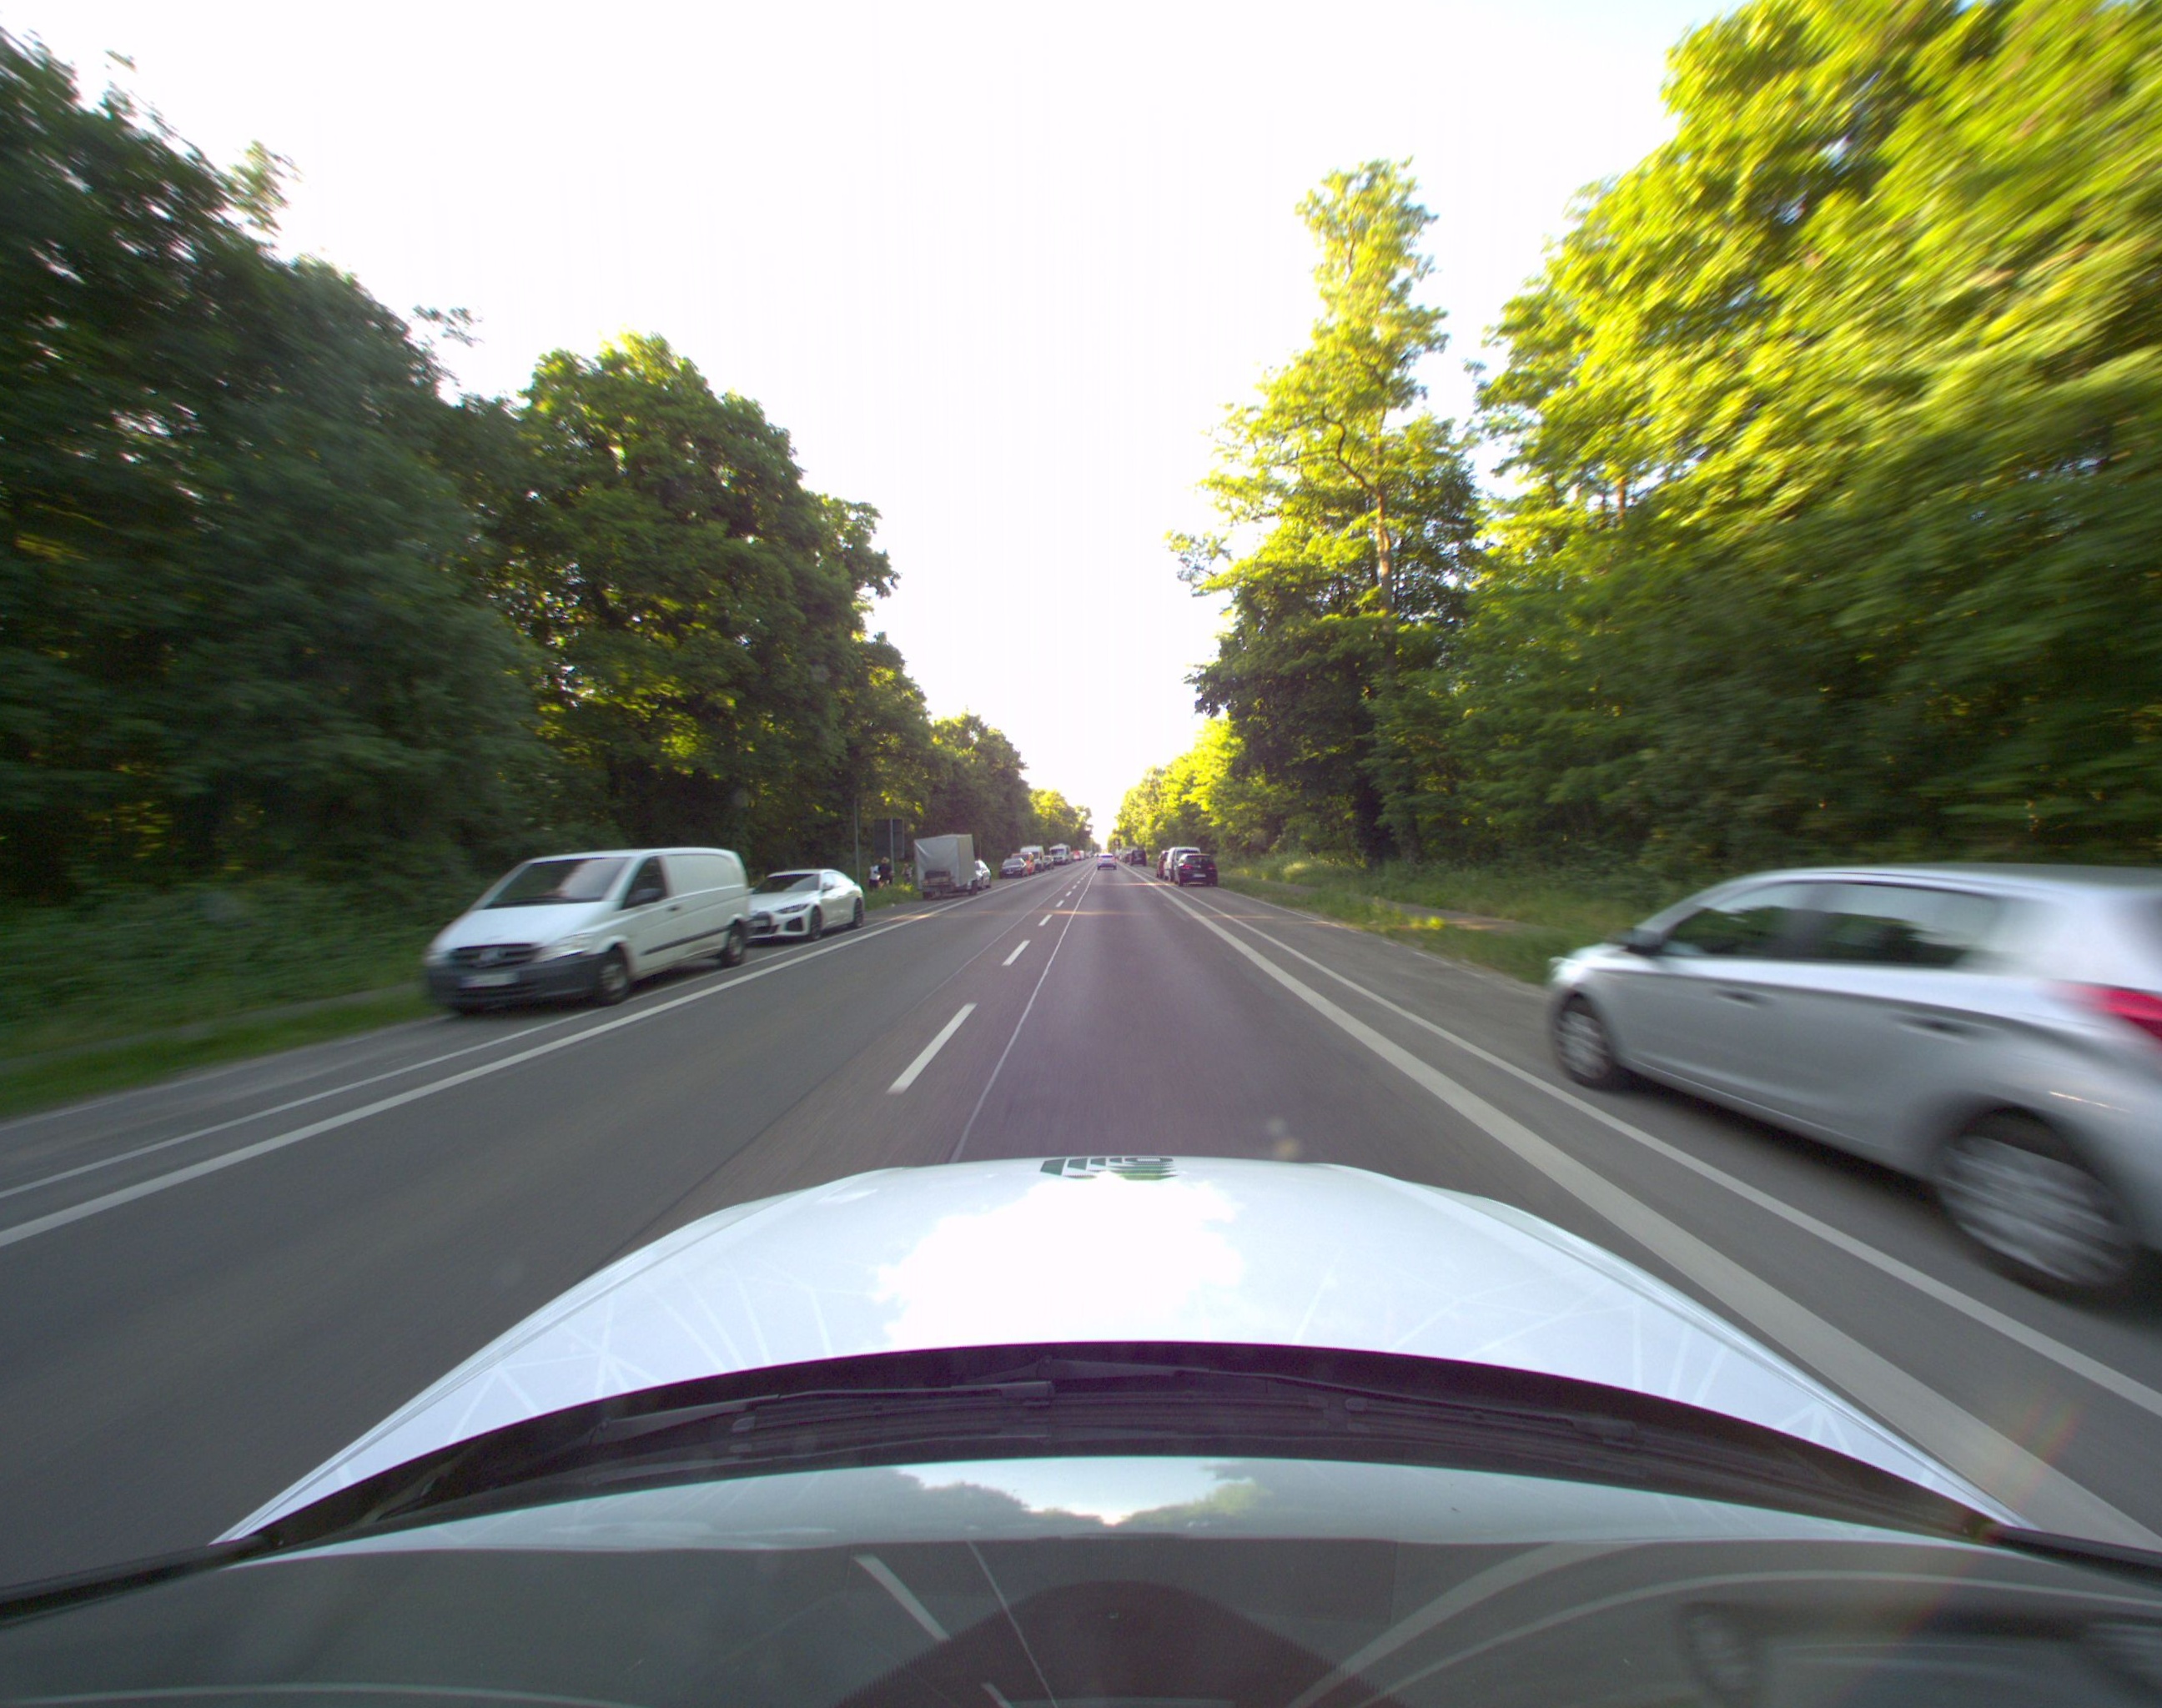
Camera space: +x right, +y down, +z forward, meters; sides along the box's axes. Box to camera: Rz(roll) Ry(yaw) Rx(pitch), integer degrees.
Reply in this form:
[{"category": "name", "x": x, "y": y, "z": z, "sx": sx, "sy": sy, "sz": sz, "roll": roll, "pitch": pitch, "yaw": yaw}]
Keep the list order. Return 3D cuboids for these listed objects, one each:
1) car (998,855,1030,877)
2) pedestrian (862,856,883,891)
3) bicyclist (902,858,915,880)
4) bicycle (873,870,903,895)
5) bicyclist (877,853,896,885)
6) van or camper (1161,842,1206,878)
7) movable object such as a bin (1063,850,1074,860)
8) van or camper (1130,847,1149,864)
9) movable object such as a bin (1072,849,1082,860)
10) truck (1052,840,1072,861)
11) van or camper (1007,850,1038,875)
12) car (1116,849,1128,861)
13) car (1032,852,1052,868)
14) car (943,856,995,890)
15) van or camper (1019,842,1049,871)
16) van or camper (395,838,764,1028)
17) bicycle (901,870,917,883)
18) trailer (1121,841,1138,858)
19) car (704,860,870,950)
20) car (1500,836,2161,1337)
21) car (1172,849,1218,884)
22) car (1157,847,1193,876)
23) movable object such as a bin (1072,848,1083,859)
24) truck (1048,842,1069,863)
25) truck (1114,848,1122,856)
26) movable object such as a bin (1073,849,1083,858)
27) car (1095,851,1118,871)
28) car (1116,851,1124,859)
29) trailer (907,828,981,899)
[{"category": "car", "x": -4.953, "y": 0.860, "z": 60.721, "sx": 1.725, "sy": 1.478, "sz": 4.326, "roll": -4, "pitch": 0, "yaw": 2}, {"category": "pedestrian", "x": -10.021, "y": 0.935, "z": 39.170, "sx": 0.755, "sy": 1.607, "sz": 0.716, "roll": -1, "pitch": 0, "yaw": 1}, {"category": "bicyclist", "x": -9.679, "y": 0.832, "z": 45.721, "sx": 0.485, "sy": 1.235, "sz": 0.974, "roll": -1, "pitch": 0, "yaw": 2}, {"category": "bicycle", "x": -8.411, "y": 1.218, "z": 35.560, "sx": 0.649, "sy": 1.008, "sz": 2.397, "roll": -1, "pitch": 0, "yaw": 2}, {"category": "bicyclist", "x": -8.457, "y": 0.649, "z": 35.454, "sx": 0.602, "sy": 1.374, "sz": 0.799, "roll": -1, "pitch": 0, "yaw": 2}, {"category": "van or camper", "x": 5.469, "y": 0.304, "z": 43.908, "sx": 1.944, "sy": 1.815, "sz": 4.383, "roll": -1, "pitch": 0, "yaw": 2}, {"category": "movable object such as a bin", "x": -2.431, "y": 0.188, "z": 161.489, "sx": 1.946, "sy": 2.013, "sz": 4.002, "roll": -2, "pitch": 0, "yaw": 2}, {"category": "van or camper", "x": 6.961, "y": 0.121, "z": 97.297, "sx": 1.986, "sy": 1.932, "sz": 5.201, "roll": -1, "pitch": 0, "yaw": 2}, {"category": "movable object such as a bin", "x": -0.923, "y": 0.088, "z": 200.149, "sx": 2.313, "sy": 2.501, "sz": 4.002, "roll": -2, "pitch": 0, "yaw": 2}, {"category": "truck", "x": -3.136, "y": -0.628, "z": 138.294, "sx": 2.697, "sy": 3.347, "sz": 10.928, "roll": -2, "pitch": 0, "yaw": 2}, {"category": "van or camper", "x": -4.763, "y": 0.645, "z": 67.149, "sx": 1.915, "sy": 1.866, "sz": 4.865, "roll": -4, "pitch": 0, "yaw": 2}, {"category": "car", "x": 6.041, "y": 0.159, "z": 120.182, "sx": 1.834, "sy": 1.662, "sz": 4.002, "roll": -1, "pitch": 0, "yaw": 2}, {"category": "car", "x": -4.289, "y": 0.652, "z": 90.235, "sx": 1.774, "sy": 1.684, "sz": 4.380, "roll": -3, "pitch": 0, "yaw": 2}, {"category": "car", "x": -5.445, "y": 0.894, "z": 40.040, "sx": 1.792, "sy": 1.453, "sz": 4.625, "roll": -3, "pitch": 0, "yaw": 0}, {"category": "van or camper", "x": -4.466, "y": 0.243, "z": 78.201, "sx": 2.112, "sy": 2.572, "sz": 6.545, "roll": -3, "pitch": 0, "yaw": 2}, {"category": "van or camper", "x": -6.271, "y": 0.825, "z": 11.072, "sx": 1.829, "sy": 1.911, "sz": 4.857, "roll": -3, "pitch": 0, "yaw": 1}, {"category": "bicycle", "x": -9.668, "y": 1.262, "z": 45.813, "sx": 0.520, "sy": 0.712, "sz": 1.488, "roll": -1, "pitch": 0, "yaw": 2}, {"category": "trailer", "x": 8.419, "y": -0.735, "z": 142.312, "sx": 2.747, "sy": 2.870, "sz": 6.591, "roll": -2, "pitch": 0, "yaw": 2}, {"category": "car", "x": -6.169, "y": 0.985, "z": 17.695, "sx": 1.768, "sy": 1.540, "sz": 4.526, "roll": -4, "pitch": 0, "yaw": 1}, {"category": "car", "x": 4.135, "y": 0.693, "z": 4.341, "sx": 1.742, "sy": 1.515, "sz": 3.999, "roll": 0, "pitch": 0, "yaw": 0}, {"category": "car", "x": 5.191, "y": 0.551, "z": 37.626, "sx": 1.684, "sy": 1.524, "sz": 4.151, "roll": 0, "pitch": 0, "yaw": 2}, {"category": "car", "x": 5.565, "y": 0.410, "z": 48.807, "sx": 1.827, "sy": 1.660, "sz": 4.340, "roll": 0, "pitch": 0, "yaw": 2}, {"category": "movable object such as a bin", "x": -0.716, "y": -0.064, "z": 185.782, "sx": 2.313, "sy": 2.501, "sz": 4.002, "roll": -2, "pitch": 0, "yaw": 2}, {"category": "truck", "x": -3.384, "y": -0.227, "z": 126.678, "sx": 2.697, "sy": 3.093, "sz": 7.993, "roll": -2, "pitch": 0, "yaw": 2}, {"category": "truck", "x": 10.661, "y": -0.567, "z": 233.132, "sx": 2.089, "sy": 2.452, "sz": 5.682, "roll": -2, "pitch": 0, "yaw": 2}, {"category": "movable object such as a bin", "x": -0.775, "y": -0.126, "z": 222.680, "sx": 2.313, "sy": 2.501, "sz": 4.002, "roll": -2, "pitch": 0, "yaw": 2}, {"category": "car", "x": 2.466, "y": 0.653, "z": 78.110, "sx": 2.021, "sy": 1.840, "sz": 4.031, "roll": -2, "pitch": 0, "yaw": 2}, {"category": "car", "x": 8.510, "y": 0.204, "z": 178.232, "sx": 1.650, "sy": 1.478, "sz": 3.755, "roll": -2, "pitch": 0, "yaw": 2}, {"category": "trailer", "x": -5.567, "y": 0.339, "z": 33.603, "sx": 1.986, "sy": 2.597, "sz": 4.418, "roll": -4, "pitch": 0, "yaw": 2}]
